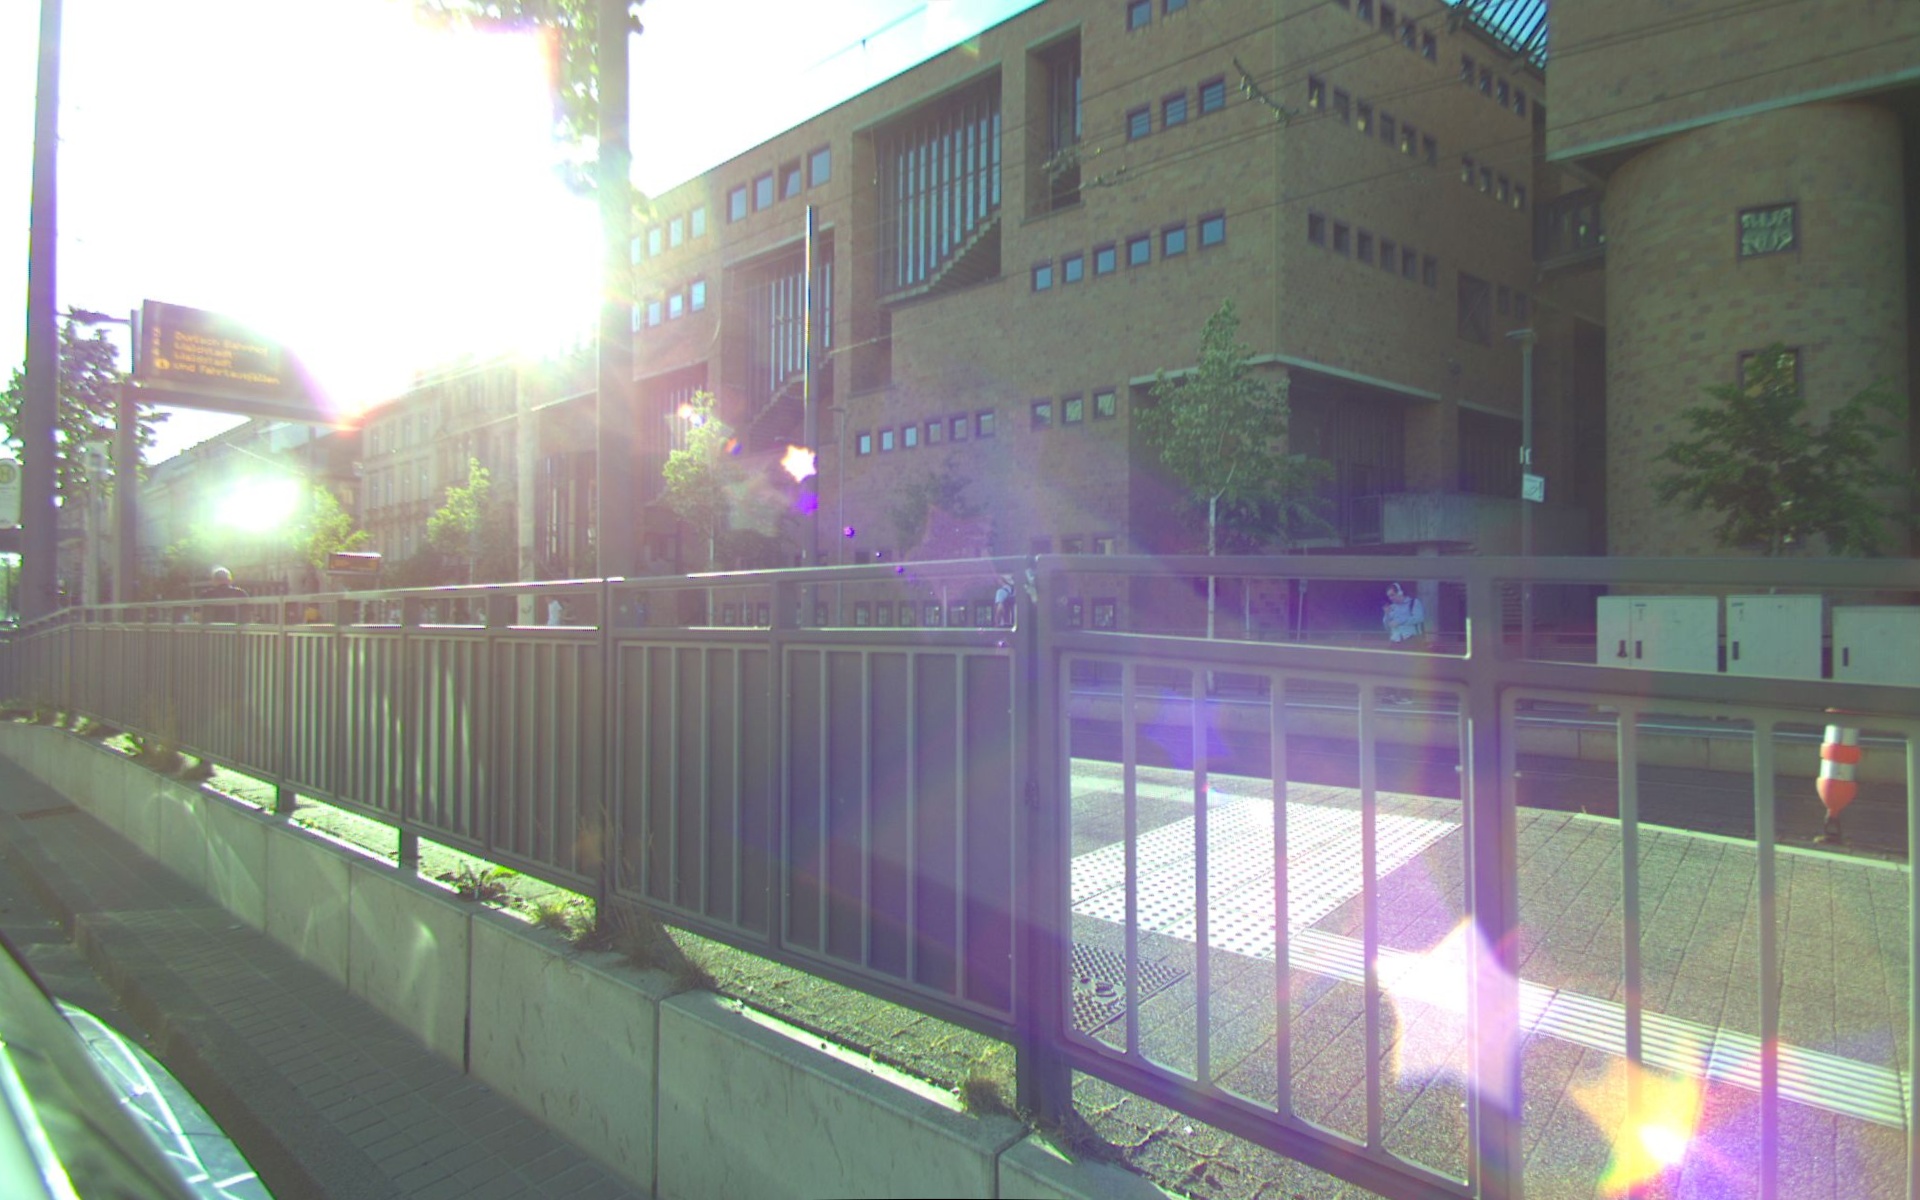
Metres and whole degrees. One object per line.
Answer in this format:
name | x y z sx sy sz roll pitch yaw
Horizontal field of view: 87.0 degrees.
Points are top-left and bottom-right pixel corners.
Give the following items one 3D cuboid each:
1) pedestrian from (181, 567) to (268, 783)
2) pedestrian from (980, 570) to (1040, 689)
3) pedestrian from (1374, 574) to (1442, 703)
pedestrian | -8.704 0.849 11.980 0.625 2.461 0.676 0 0 38
pedestrian | 0.785 0.455 15.983 0.668 1.821 0.677 0 0 40
pedestrian | 5.907 0.487 13.342 0.684 1.647 0.660 0 0 37
